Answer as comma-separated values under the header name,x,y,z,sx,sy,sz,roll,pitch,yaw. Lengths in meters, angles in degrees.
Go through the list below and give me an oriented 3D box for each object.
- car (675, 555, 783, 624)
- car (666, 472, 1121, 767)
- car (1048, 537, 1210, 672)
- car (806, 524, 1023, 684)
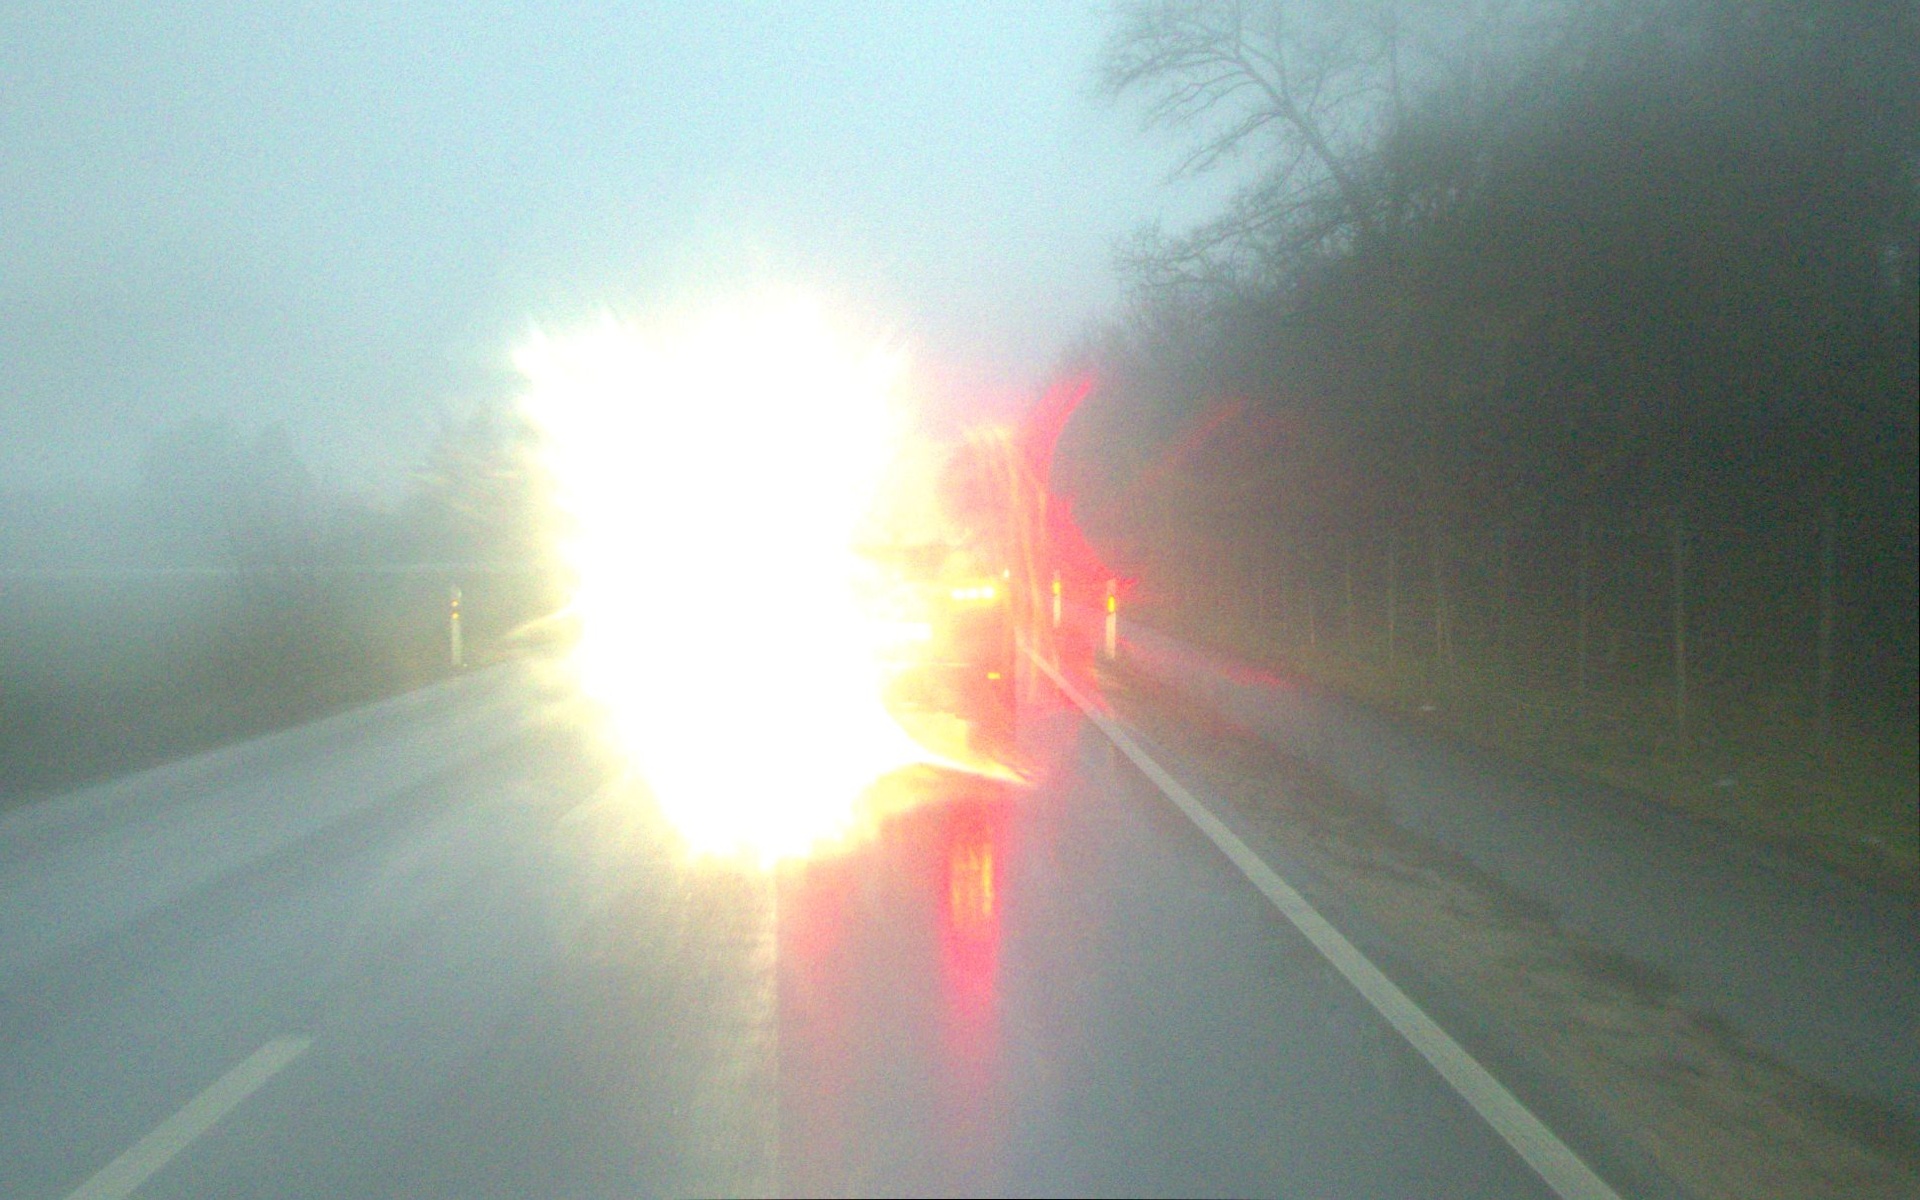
name,x,y,z,sx,sy,sz,roll,pitch,yaw
car,-4.732,-0.229,71.033,1.993,1.367,4.398,1,1,-1
car,-0.498,0.069,27.579,3.164,2.028,6.852,-1,1,-1
car,2.255,0.034,46.882,1.928,1.744,4.000,1,1,-1
car,-0.617,-0.017,47.565,2.756,2.028,6.591,-1,1,-1
